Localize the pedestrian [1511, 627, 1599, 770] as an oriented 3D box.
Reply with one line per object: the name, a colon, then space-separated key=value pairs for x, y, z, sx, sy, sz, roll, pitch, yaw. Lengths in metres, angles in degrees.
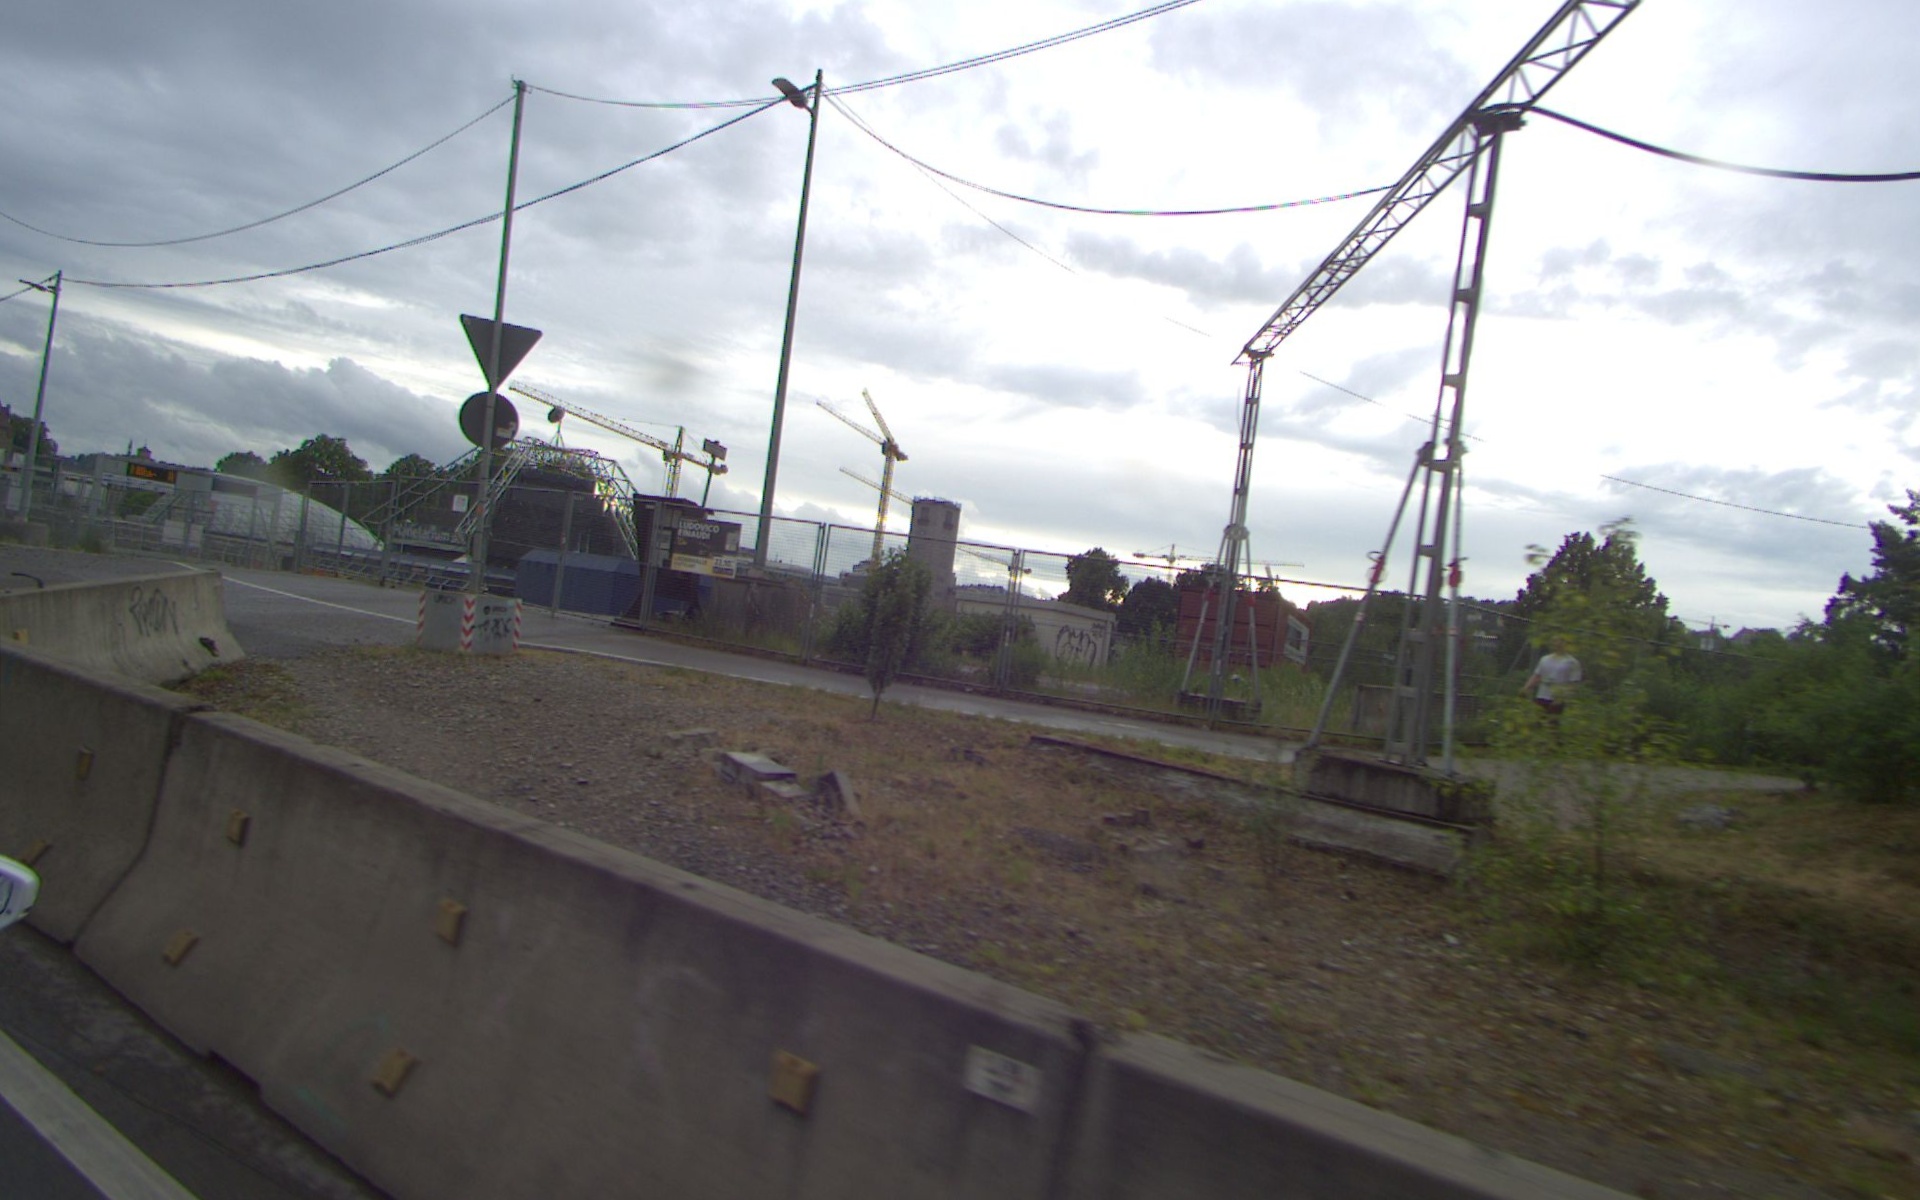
pedestrian: x=8.005 y=1.328 z=13.538 sx=0.683 sy=1.799 sz=0.811 roll=7 pitch=-1 yaw=44
